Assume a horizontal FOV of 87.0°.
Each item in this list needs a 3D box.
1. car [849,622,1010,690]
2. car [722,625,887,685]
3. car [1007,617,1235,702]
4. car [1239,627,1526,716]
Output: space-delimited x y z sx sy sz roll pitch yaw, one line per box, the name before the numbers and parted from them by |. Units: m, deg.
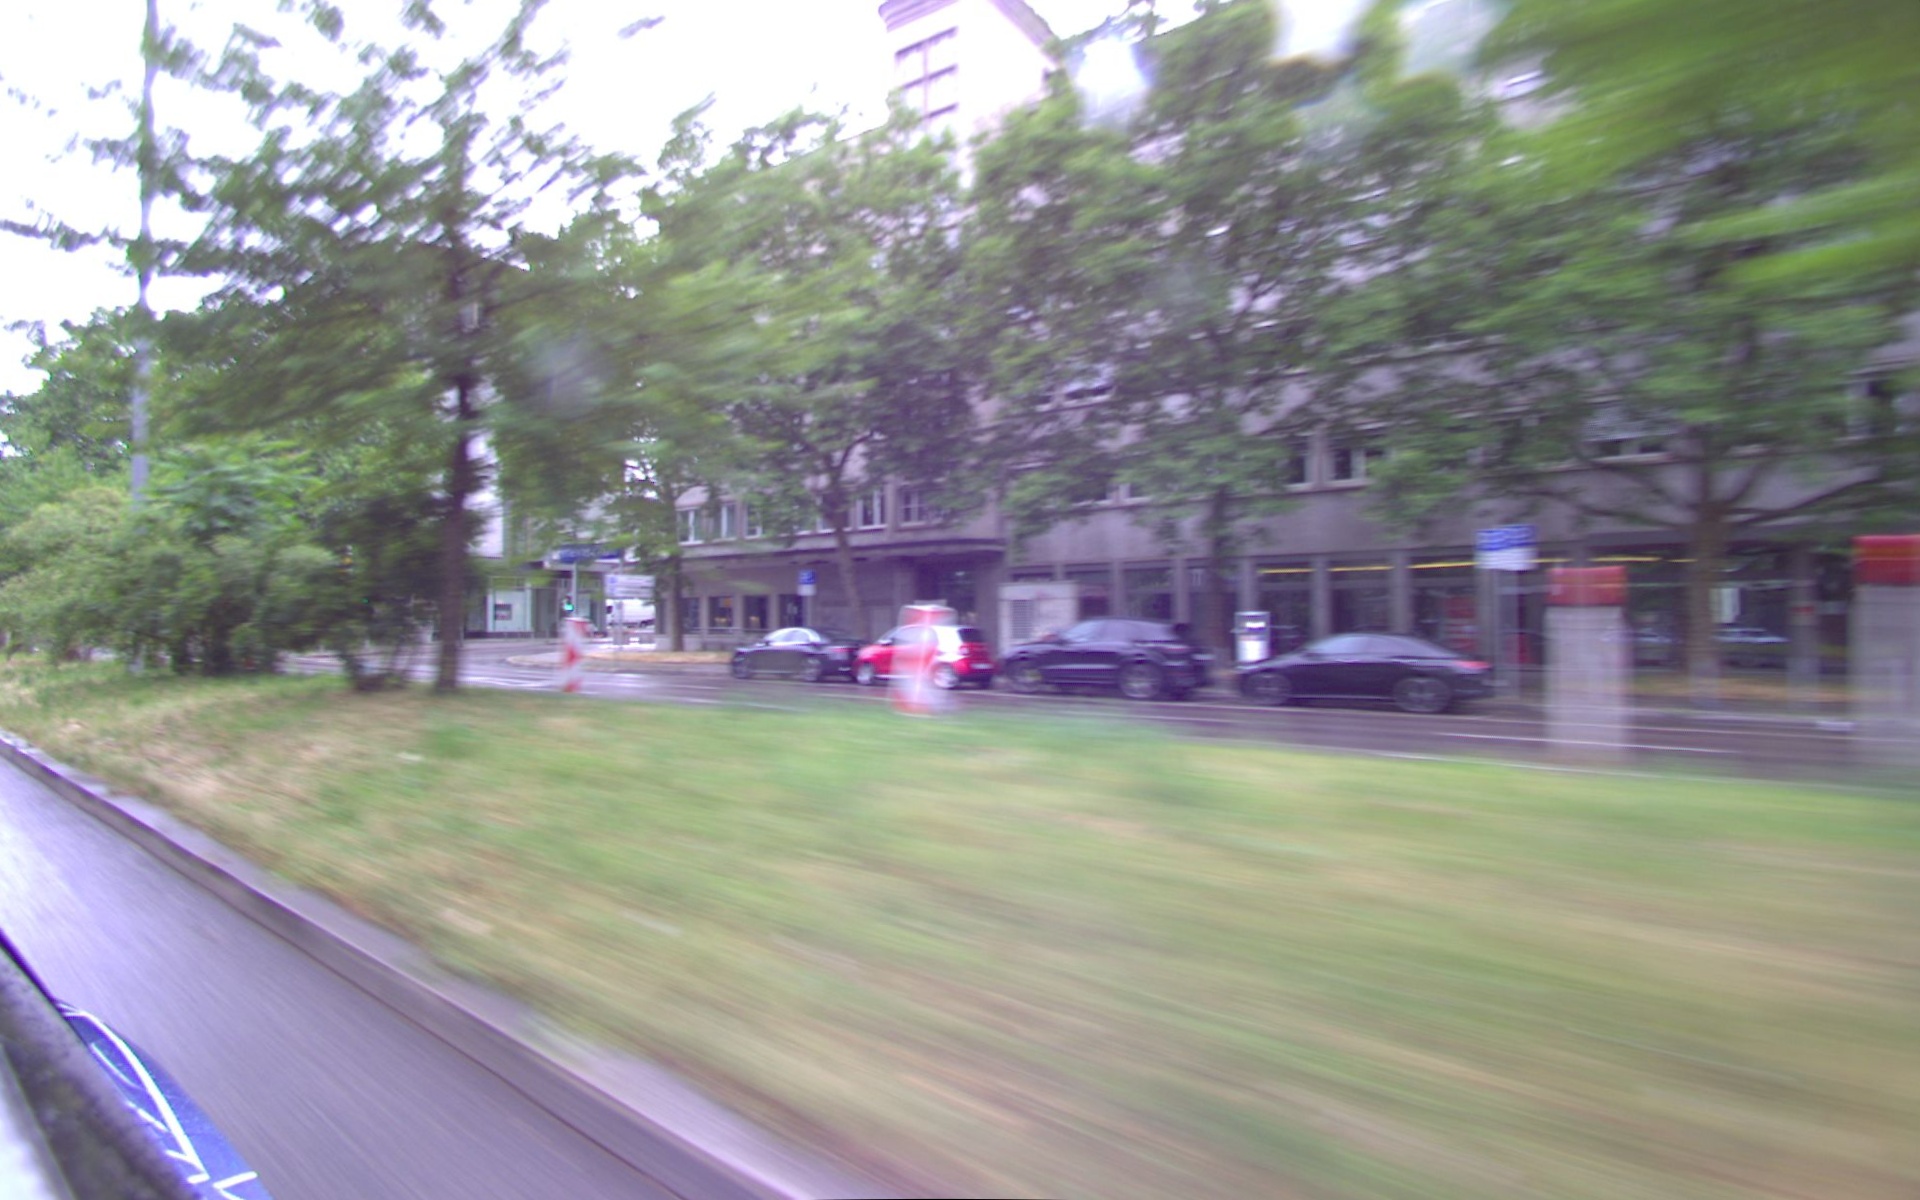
car | -0.765 1.315 24.367 3.687 1.514 1.670 -1 -3 38
car | -4.244 1.437 27.302 4.568 1.498 1.769 -1 -3 38
car | 3.347 1.207 21.515 4.461 1.634 1.844 -1 -3 38
car | 7.662 1.227 18.594 4.559 1.440 1.844 -1 -3 38
